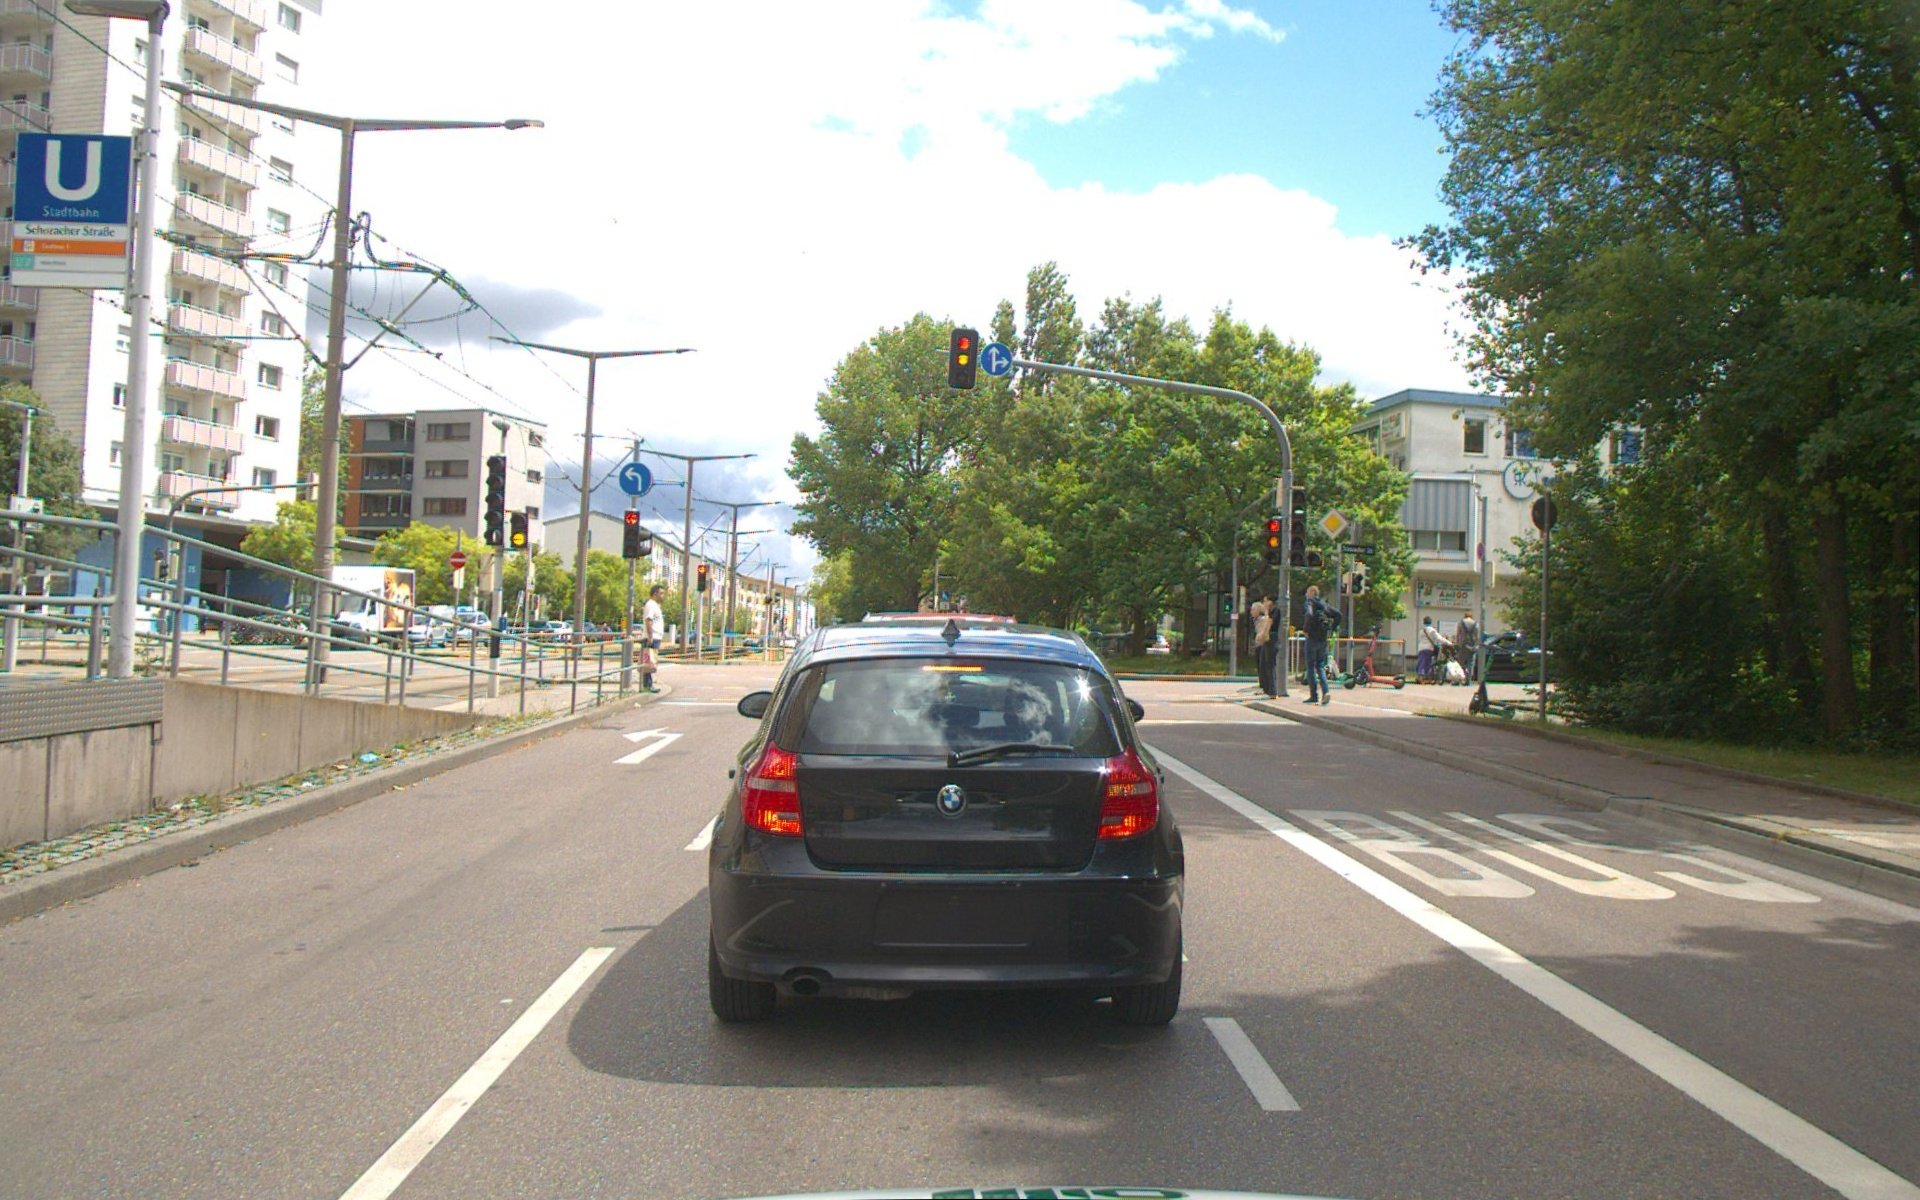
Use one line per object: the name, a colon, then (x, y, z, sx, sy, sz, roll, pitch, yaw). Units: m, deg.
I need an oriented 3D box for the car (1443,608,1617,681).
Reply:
car: (16.825, 1.293, 48.883, 4.450, 2.049, 1.996, 1, -1, -8)

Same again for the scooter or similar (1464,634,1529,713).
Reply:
scooter or similar: (9.281, 1.268, 28.638, 0.872, 1.251, 0.454, 6, -1, -1)

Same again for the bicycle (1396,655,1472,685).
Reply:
bicycle: (10.649, 1.567, 37.157, 1.561, 0.620, 0.532, 1, -1, 40)

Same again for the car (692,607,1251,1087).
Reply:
car: (0.015, 0.759, 6.713, 1.666, 1.424, 3.419, 1, 0, -1)

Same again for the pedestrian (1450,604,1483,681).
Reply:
pedestrian: (11.604, 0.973, 37.885, 0.644, 1.743, 0.461, 1, -1, 25)

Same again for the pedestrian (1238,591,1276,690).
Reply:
pedestrian: (5.479, 0.736, 30.569, 0.622, 1.797, 0.518, 1, -1, 5)

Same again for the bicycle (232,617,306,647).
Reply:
bicycle: (-26.707, 1.244, 63.922, 2.528, 1.026, 0.748, 3, -3, -29)

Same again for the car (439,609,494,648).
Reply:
car: (-23.630, 1.370, 79.307, 1.559, 1.787, 3.773, 2, -1, -2)

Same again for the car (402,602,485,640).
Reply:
car: (-27.730, 1.131, 88.842, 3.893, 2.009, 1.630, 2, -1, -43)

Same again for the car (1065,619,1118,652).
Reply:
car: (7.178, 1.941, 90.758, 1.830, 1.691, 3.988, 2, -1, -12)

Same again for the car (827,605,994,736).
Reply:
car: (-0.591, 0.813, 21.048, 1.862, 1.447, 4.538, 1, 0, -1)

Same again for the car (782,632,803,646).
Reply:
car: (-19.351, 4.529, 191.074, 1.616, 1.561, 3.874, 0, -1, 6)

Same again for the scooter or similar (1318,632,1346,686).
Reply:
scooter or similar: (7.871, 1.238, 34.996, 0.536, 1.082, 1.263, 1, 0, 13)

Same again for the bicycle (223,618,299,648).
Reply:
bicycle: (-26.169, 1.242, 61.956, 2.528, 1.026, 0.748, 3, -3, -29)

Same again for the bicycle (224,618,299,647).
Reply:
bicycle: (-26.535, 1.242, 62.824, 2.528, 1.026, 0.748, 3, -3, -29)

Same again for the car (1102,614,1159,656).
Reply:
car: (8.195, 1.668, 79.830, 1.694, 1.904, 3.991, 2, -1, -9)

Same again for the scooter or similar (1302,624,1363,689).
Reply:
scooter or similar: (7.461, 1.123, 33.168, 1.087, 1.257, 0.539, 1, -1, 1)

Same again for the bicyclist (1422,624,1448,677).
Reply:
bicyclist: (10.677, 1.123, 37.140, 0.392, 1.177, 0.500, 0, -1, 38)

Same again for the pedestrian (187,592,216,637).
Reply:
pedestrian: (-35.254, 0.662, 76.899, 0.841, 2.049, 0.847, 1, -1, 17)

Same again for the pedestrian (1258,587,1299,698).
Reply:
pedestrian: (5.526, 0.729, 28.751, 0.622, 1.909, 0.518, 1, -1, 5)

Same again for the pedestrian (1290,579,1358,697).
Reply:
pedestrian: (6.024, 0.623, 27.345, 0.989, 1.909, 0.798, 0, -1, 21)

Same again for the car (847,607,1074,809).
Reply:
car: (-0.020, 0.790, 13.615, 1.605, 1.424, 3.419, 1, 0, -1)

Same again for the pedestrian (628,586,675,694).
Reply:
pedestrian: (-5.134, 0.657, 27.513, 0.676, 1.764, 0.684, 1, -1, -18)

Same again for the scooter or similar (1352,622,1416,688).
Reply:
scooter or similar: (8.715, 1.125, 34.022, 1.127, 1.294, 0.555, 2, -1, 1)

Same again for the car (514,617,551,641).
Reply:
car: (-28.806, 1.940, 111.446, 1.559, 1.500, 3.773, 2, -1, -2)

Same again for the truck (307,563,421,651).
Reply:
truck: (-23.083, 0.273, 64.440, 2.237, 3.172, 7.311, 2, -1, -5)

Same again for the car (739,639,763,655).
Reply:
car: (-21.629, 4.859, 171.347, 1.616, 1.561, 3.874, 1, -1, 6)

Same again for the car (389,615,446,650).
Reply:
car: (-23.751, 1.401, 72.513, 1.379, 1.486, 3.772, 2, -1, -3)
